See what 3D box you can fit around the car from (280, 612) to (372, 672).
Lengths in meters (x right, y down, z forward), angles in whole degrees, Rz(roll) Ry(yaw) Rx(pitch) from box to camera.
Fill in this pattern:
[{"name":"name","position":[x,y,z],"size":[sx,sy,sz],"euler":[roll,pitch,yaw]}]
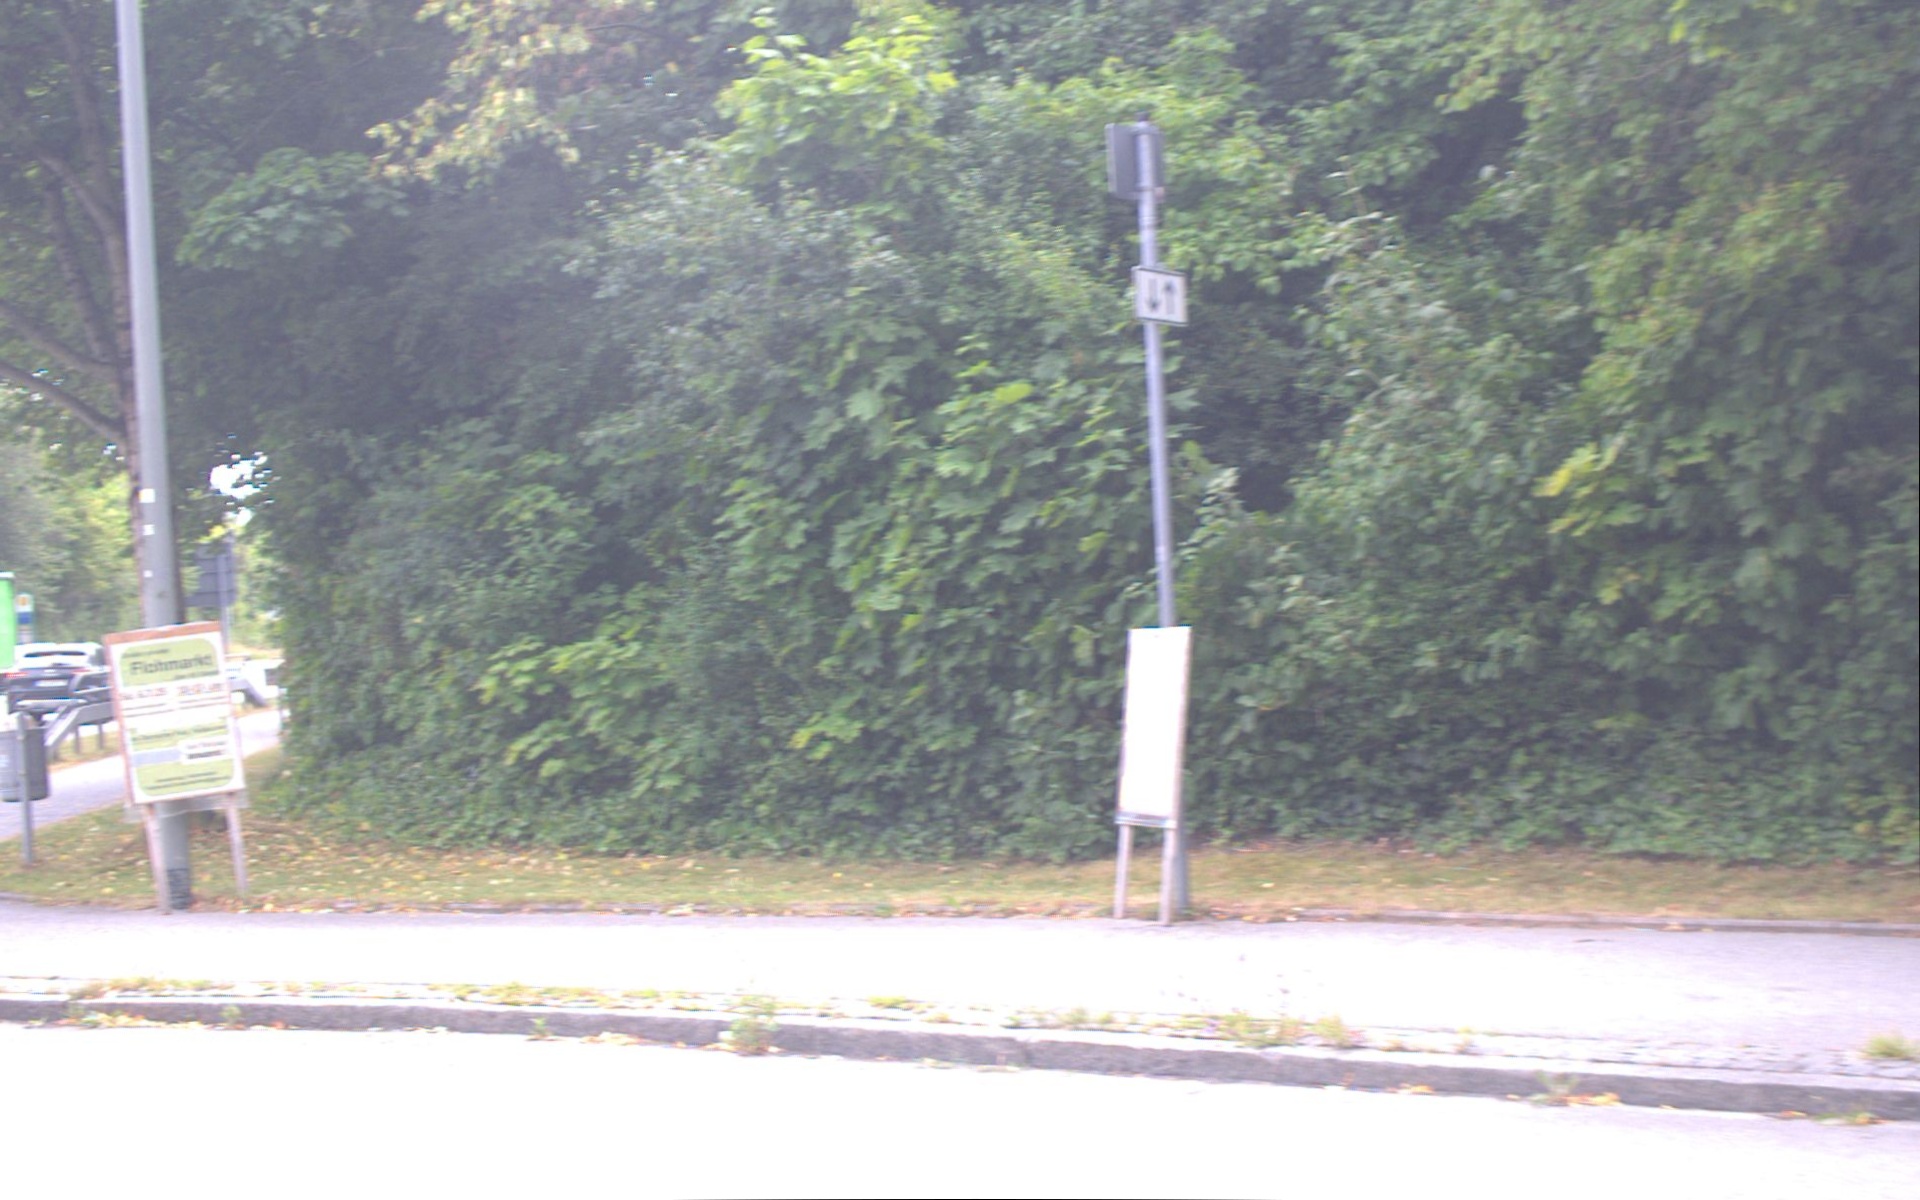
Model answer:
[{"name":"car","position":[-22.555,1.477,122.483],"size":[2.513,1.941,5.712],"euler":[-3,0,-4]}]

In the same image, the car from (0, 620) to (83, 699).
[{"name":"car","position":[-27.727,1.758,101.153],"size":[2.679,2.166,6.000],"euler":[-3,0,-5]}]

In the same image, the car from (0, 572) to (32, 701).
[{"name":"car","position":[-25.272,0.983,84.558],"size":[3.170,3.194,7.633],"euler":[-3,0,-4]}]

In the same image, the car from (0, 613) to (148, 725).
[{"name":"car","position":[-17.084,1.282,65.146],"size":[2.513,1.941,5.712],"euler":[-3,0,-6]}]
